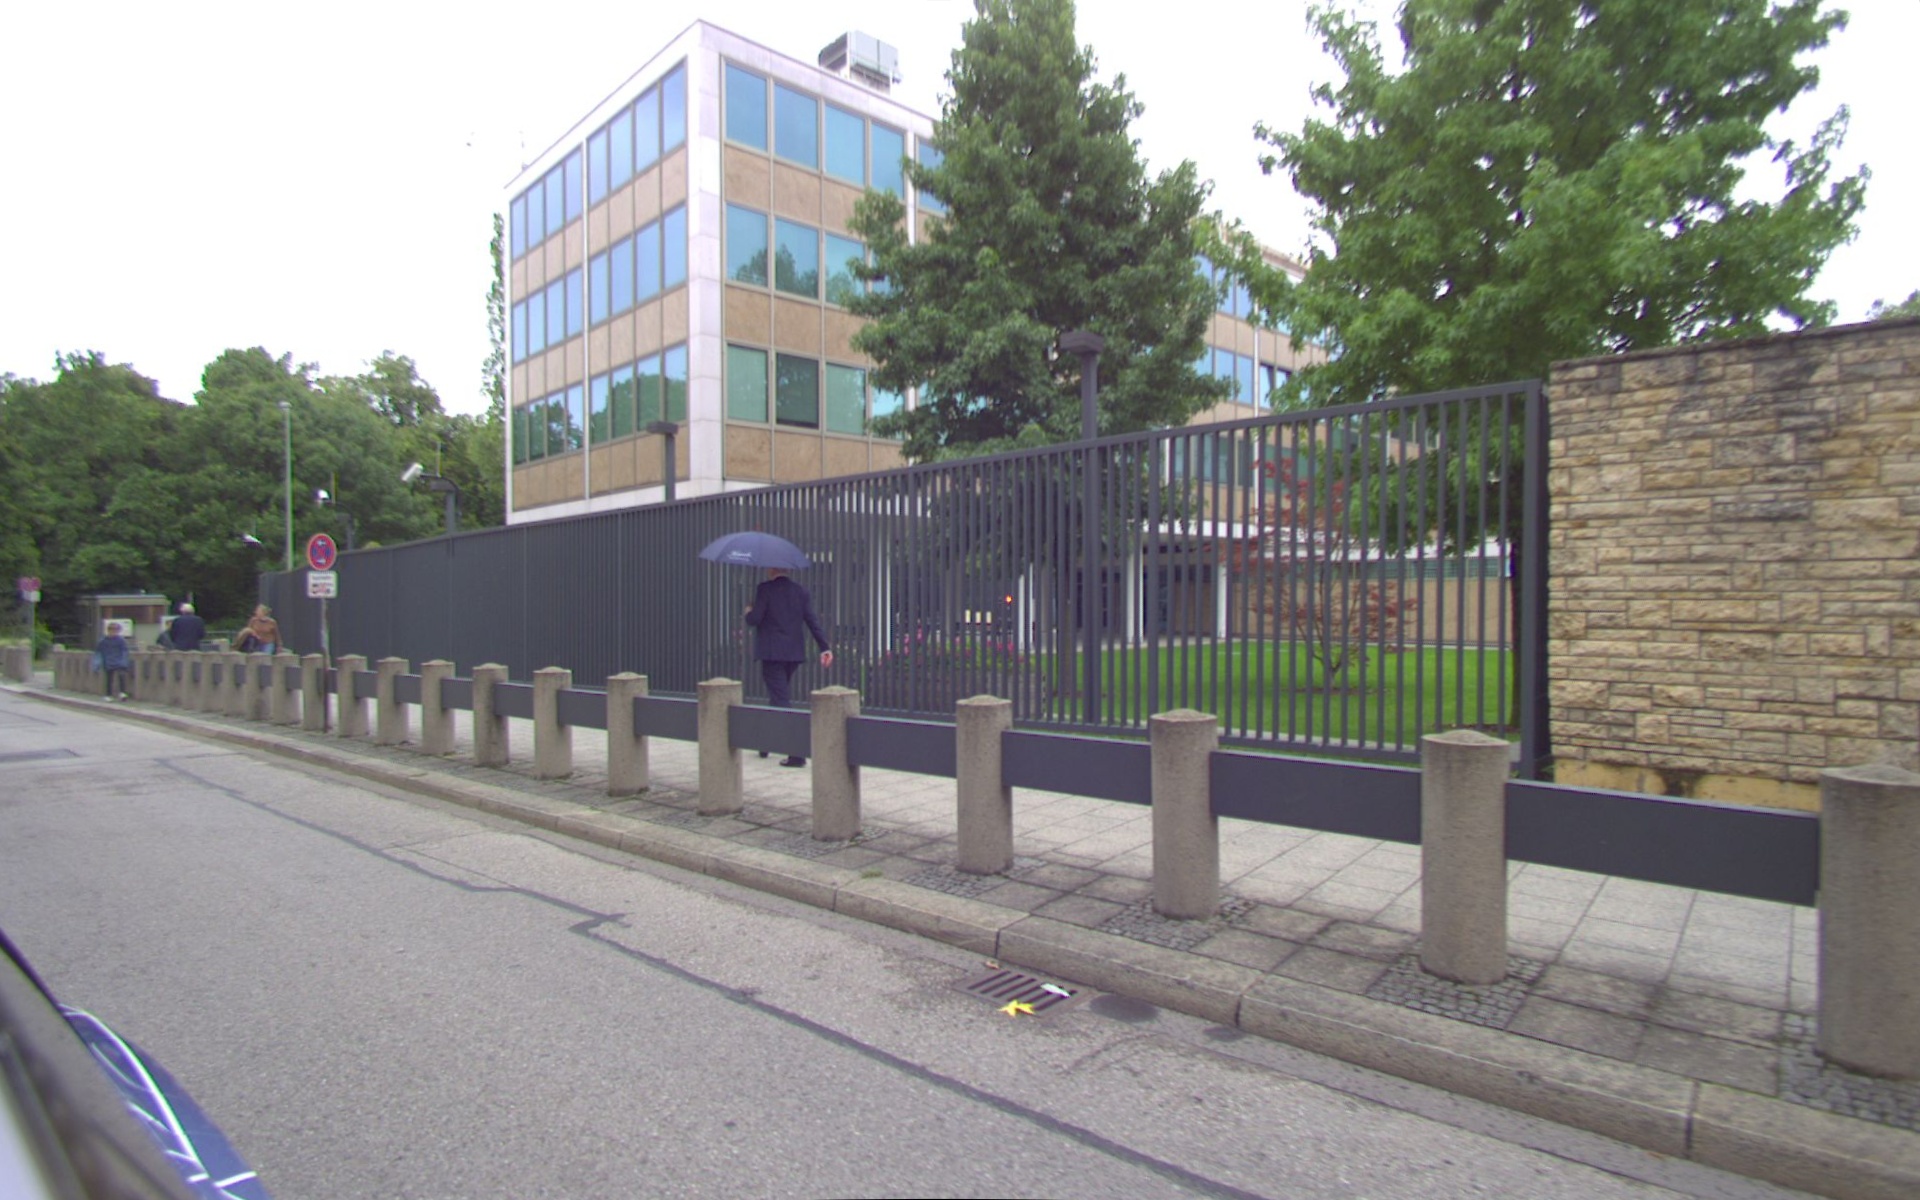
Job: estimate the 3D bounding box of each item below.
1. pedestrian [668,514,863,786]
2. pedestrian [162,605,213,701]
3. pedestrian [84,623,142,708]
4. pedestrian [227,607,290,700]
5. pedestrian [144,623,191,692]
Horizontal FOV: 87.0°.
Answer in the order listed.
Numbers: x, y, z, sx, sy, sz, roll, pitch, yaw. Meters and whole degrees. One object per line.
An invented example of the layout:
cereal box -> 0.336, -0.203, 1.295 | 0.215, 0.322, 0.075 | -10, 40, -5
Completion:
pedestrian -> -1.671, 0.396, 8.710 | 1.116, 2.120, 1.209 | -2, -1, 43
pedestrian -> -14.878, 1.003, 19.490 | 0.766, 1.782, 0.617 | -2, -1, 40
pedestrian -> -15.640, 1.184, 18.681 | 1.078, 1.478, 0.631 | -2, 1, 42
pedestrian -> -13.788, 1.039, 19.888 | 0.814, 1.736, 0.906 | -3, 1, -44
pedestrian -> -18.752, 1.343, 23.954 | 0.768, 1.551, 0.934 | -3, 1, -41
